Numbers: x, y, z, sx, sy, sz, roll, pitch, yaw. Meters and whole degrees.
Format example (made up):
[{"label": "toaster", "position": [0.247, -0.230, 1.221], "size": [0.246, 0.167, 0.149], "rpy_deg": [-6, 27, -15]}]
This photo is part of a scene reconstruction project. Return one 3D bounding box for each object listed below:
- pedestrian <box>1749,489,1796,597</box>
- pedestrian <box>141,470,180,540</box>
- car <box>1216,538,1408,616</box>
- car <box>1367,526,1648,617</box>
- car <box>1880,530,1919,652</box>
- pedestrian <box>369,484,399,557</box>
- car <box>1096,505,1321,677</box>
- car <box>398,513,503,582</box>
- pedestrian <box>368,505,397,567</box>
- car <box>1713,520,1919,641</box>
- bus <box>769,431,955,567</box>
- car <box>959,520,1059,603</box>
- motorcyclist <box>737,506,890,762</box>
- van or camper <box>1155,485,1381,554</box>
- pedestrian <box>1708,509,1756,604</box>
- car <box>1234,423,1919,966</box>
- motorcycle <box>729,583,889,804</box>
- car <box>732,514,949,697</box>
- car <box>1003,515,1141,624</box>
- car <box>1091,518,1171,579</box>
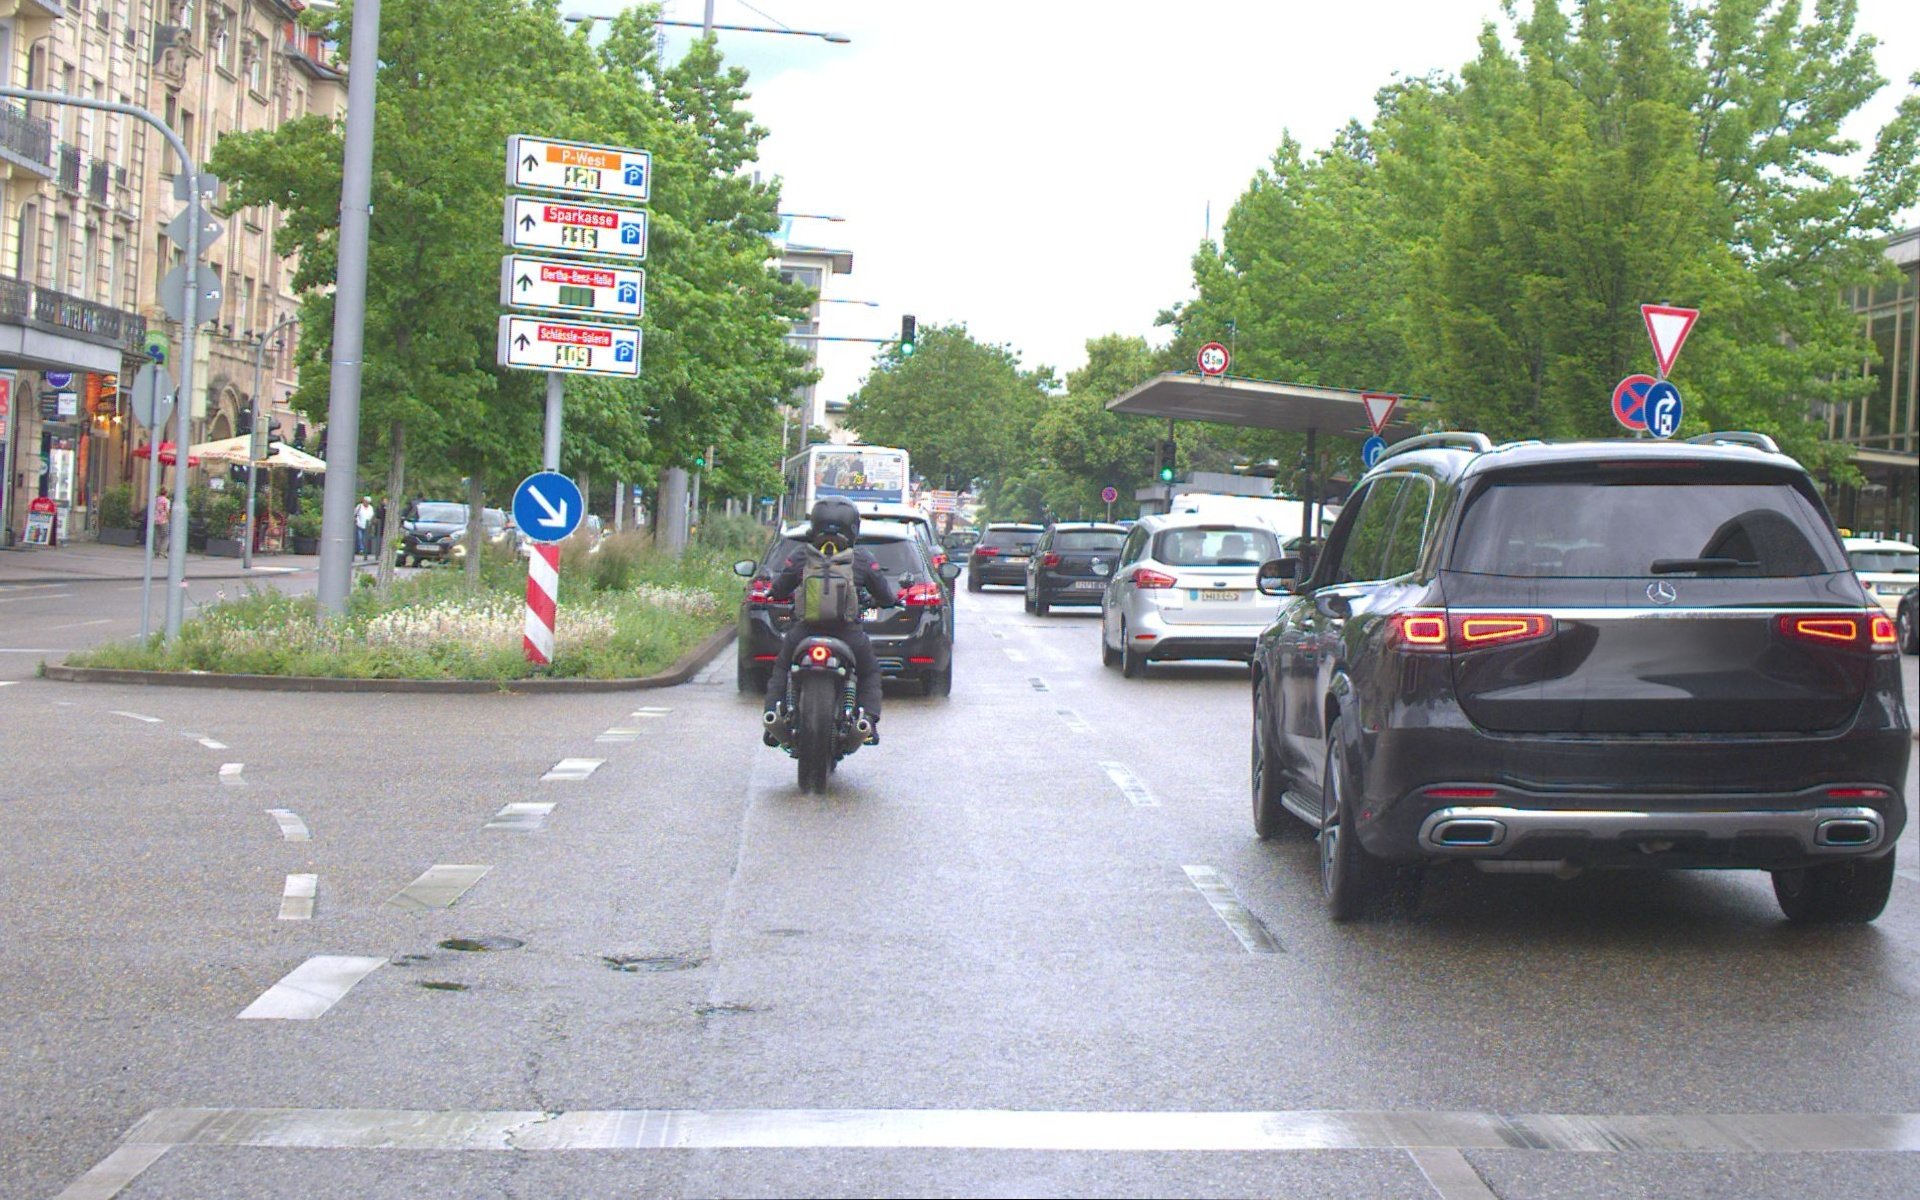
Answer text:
[{"label": "pedestrian", "position": [18.440, -1.297, 78.028], "size": [0.843, 2.403, 0.862], "rpy_deg": [1, 1, 1]}, {"label": "pedestrian", "position": [-17.574, -2.085, 75.531], "size": [0.661, 1.505, 0.519], "rpy_deg": [0, 1, -38]}, {"label": "car", "position": [8.846, -0.580, 86.534], "size": [4.335, 1.851, 2.001], "rpy_deg": [1, 1, -20]}, {"label": "car", "position": [8.838, -0.483, 55.802], "size": [1.775, 1.380, 4.366], "rpy_deg": [0, 2, -41]}, {"label": "car", "position": [12.957, -0.079, 42.077], "size": [1.913, 1.519, 4.743], "rpy_deg": [1, 1, -3]}, {"label": "pedestrian", "position": [-16.071, -2.222, 95.980], "size": [0.757, 2.007, 0.833], "rpy_deg": [1, 1, -7]}, {"label": "car", "position": [2.378, -0.132, 33.831], "size": [1.851, 1.561, 4.000], "rpy_deg": [1, 1, -1]}, {"label": "car", "position": [-12.064, -1.224, 81.608], "size": [1.771, 1.525, 4.078], "rpy_deg": [3, 1, 1]}, {"label": "pedestrian", "position": [-16.120, -1.785, 95.943], "size": [0.674, 1.695, 0.634], "rpy_deg": [1, 1, -1]}, {"label": "car", "position": [12.458, -0.311, 48.559], "size": [1.993, 1.594, 4.824], "rpy_deg": [1, 1, -8]}, {"label": "bus", "position": [-2.774, -2.606, 89.979], "size": [3.759, 3.198, 15.529], "rpy_deg": [1, 1, -6]}, {"label": "car", "position": [0.988, -0.815, 71.020], "size": [1.810, 1.637, 3.904], "rpy_deg": [1, 1, -2]}, {"label": "motorcyclist", "position": [-0.778, 0.169, 18.450], "size": [0.764, 1.327, 0.866], "rpy_deg": [1, 1, -1]}, {"label": "van or camper", "position": [9.608, -2.498, 107.202], "size": [6.753, 2.007, 2.386], "rpy_deg": [0, 1, -27]}, {"label": "pedestrian", "position": [16.391, -0.927, 73.026], "size": [0.769, 2.007, 0.828], "rpy_deg": [1, 1, -3]}, {"label": "car", "position": [2.337, 0.255, 13.881], "size": [1.993, 1.800, 4.690], "rpy_deg": [1, 2, -1]}, {"label": "motorcycle", "position": [-0.791, 0.469, 18.578], "size": [0.766, 1.073, 2.175], "rpy_deg": [1, 1, -1]}, {"label": "car", "position": [-0.979, -0.004, 29.409], "size": [1.708, 1.443, 4.000], "rpy_deg": [1, 1, -1]}, {"label": "car", "position": [1.696, -0.499, 53.104], "size": [1.810, 1.576, 3.904], "rpy_deg": [1, 1, -2]}, {"label": "car", "position": [4.435, -1.358, 89.640], "size": [1.816, 1.525, 4.000], "rpy_deg": [1, 1, -1]}]
